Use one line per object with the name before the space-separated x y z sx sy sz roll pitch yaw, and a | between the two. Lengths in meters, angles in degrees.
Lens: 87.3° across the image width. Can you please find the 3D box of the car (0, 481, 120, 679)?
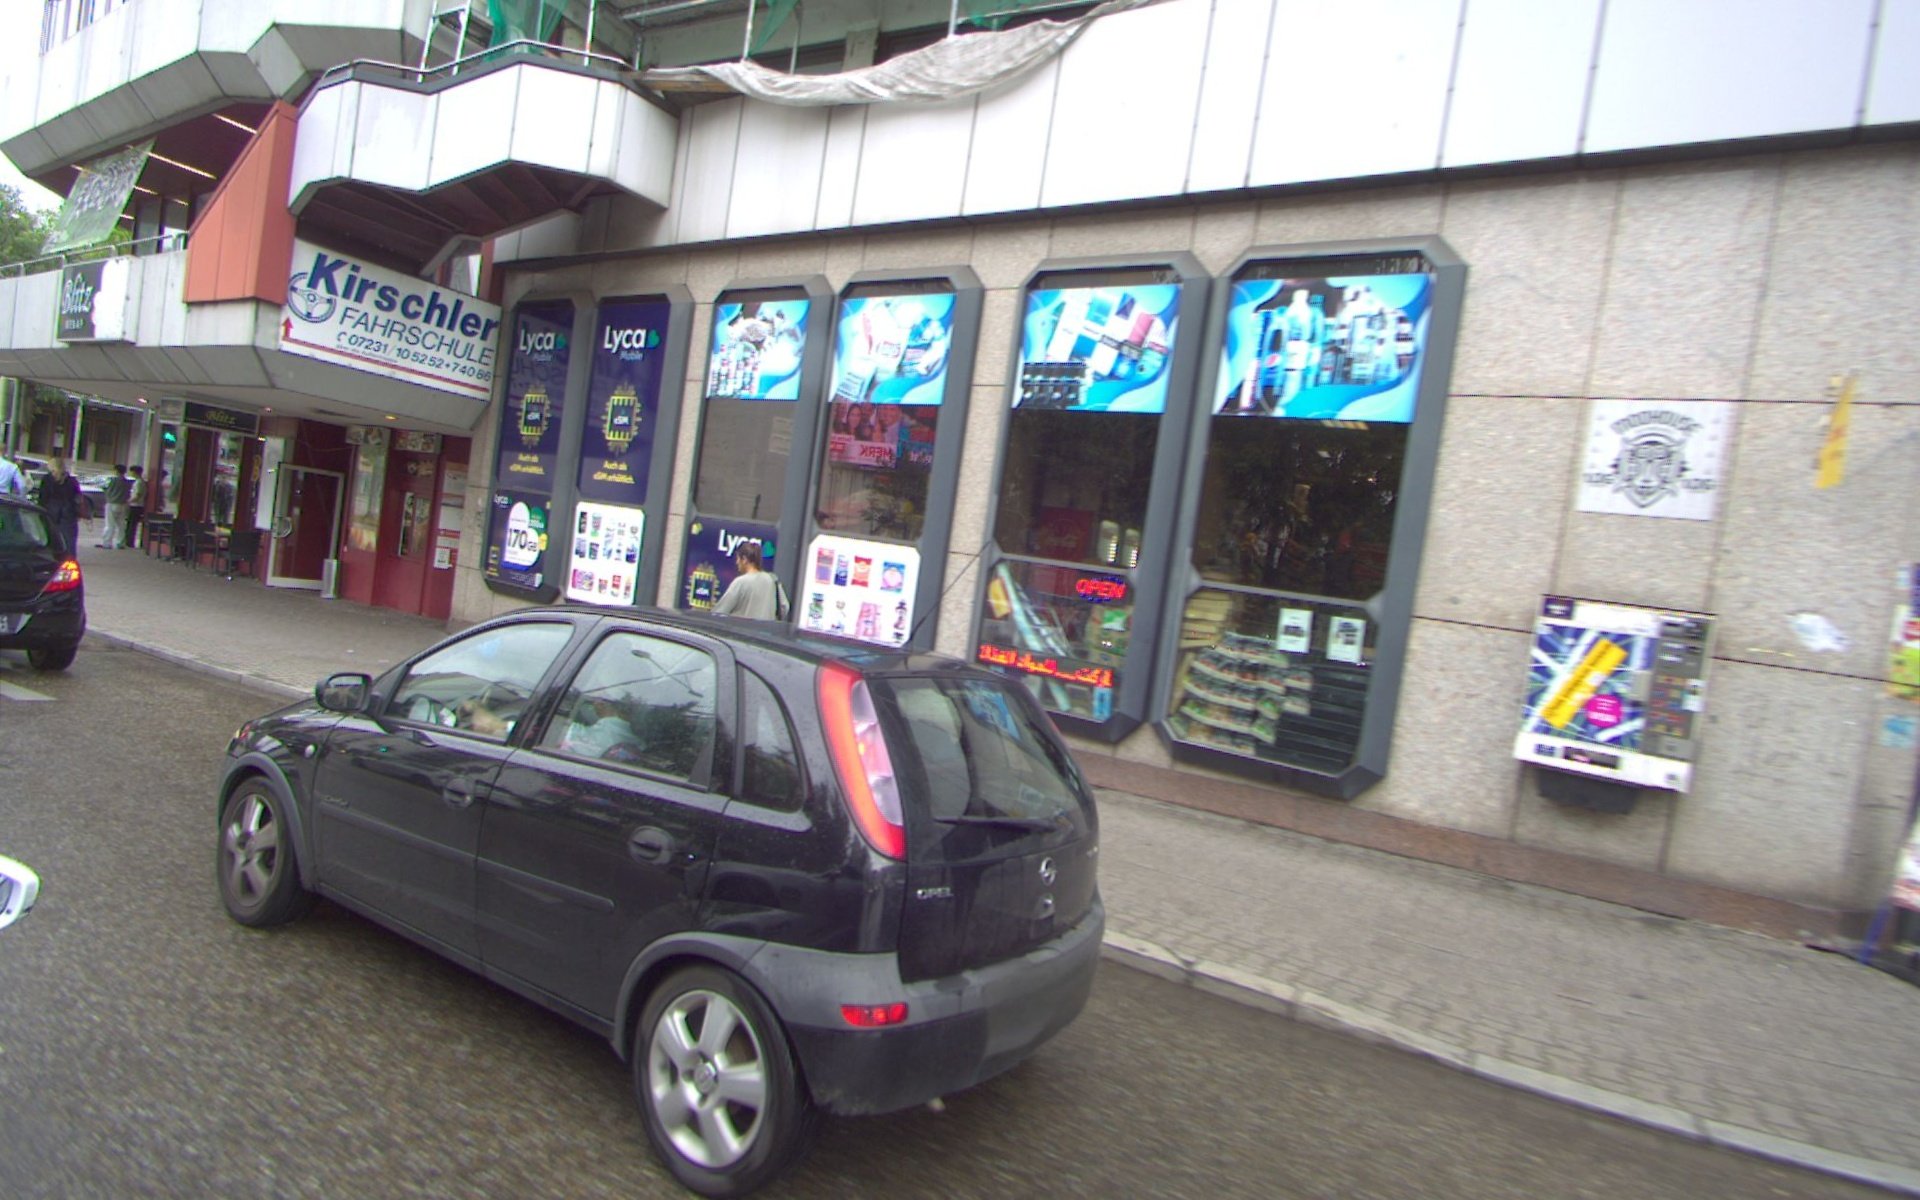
car | -9.115 -0.385 8.599 3.678 1.475 1.711 9 0 30

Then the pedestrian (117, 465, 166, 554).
pedestrian | -17.310 -1.911 21.285 0.503 1.785 0.526 7 1 30

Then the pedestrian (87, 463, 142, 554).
pedestrian | -17.368 -1.873 20.667 0.484 1.785 0.596 7 1 30

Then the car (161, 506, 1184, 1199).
car | -1.228 0.652 3.796 3.566 1.459 1.594 9 1 32

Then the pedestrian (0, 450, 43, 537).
pedestrian | -20.087 -2.267 21.369 0.955 1.729 0.588 9 4 32

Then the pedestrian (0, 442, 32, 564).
pedestrian | -15.279 -1.557 15.895 0.834 1.870 0.622 7 1 36

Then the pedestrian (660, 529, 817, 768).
pedestrian | -1.819 0.354 8.289 0.792 1.805 0.894 7 6 33

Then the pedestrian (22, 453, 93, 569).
pedestrian | -14.820 -1.456 16.525 0.667 1.795 0.622 7 1 36

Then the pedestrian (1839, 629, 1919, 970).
pedestrian | 5.579 1.118 5.585 0.580 1.805 0.652 7 6 15

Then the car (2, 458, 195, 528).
car | -26.999 -3.318 31.717 1.754 1.438 4.273 9 1 17
